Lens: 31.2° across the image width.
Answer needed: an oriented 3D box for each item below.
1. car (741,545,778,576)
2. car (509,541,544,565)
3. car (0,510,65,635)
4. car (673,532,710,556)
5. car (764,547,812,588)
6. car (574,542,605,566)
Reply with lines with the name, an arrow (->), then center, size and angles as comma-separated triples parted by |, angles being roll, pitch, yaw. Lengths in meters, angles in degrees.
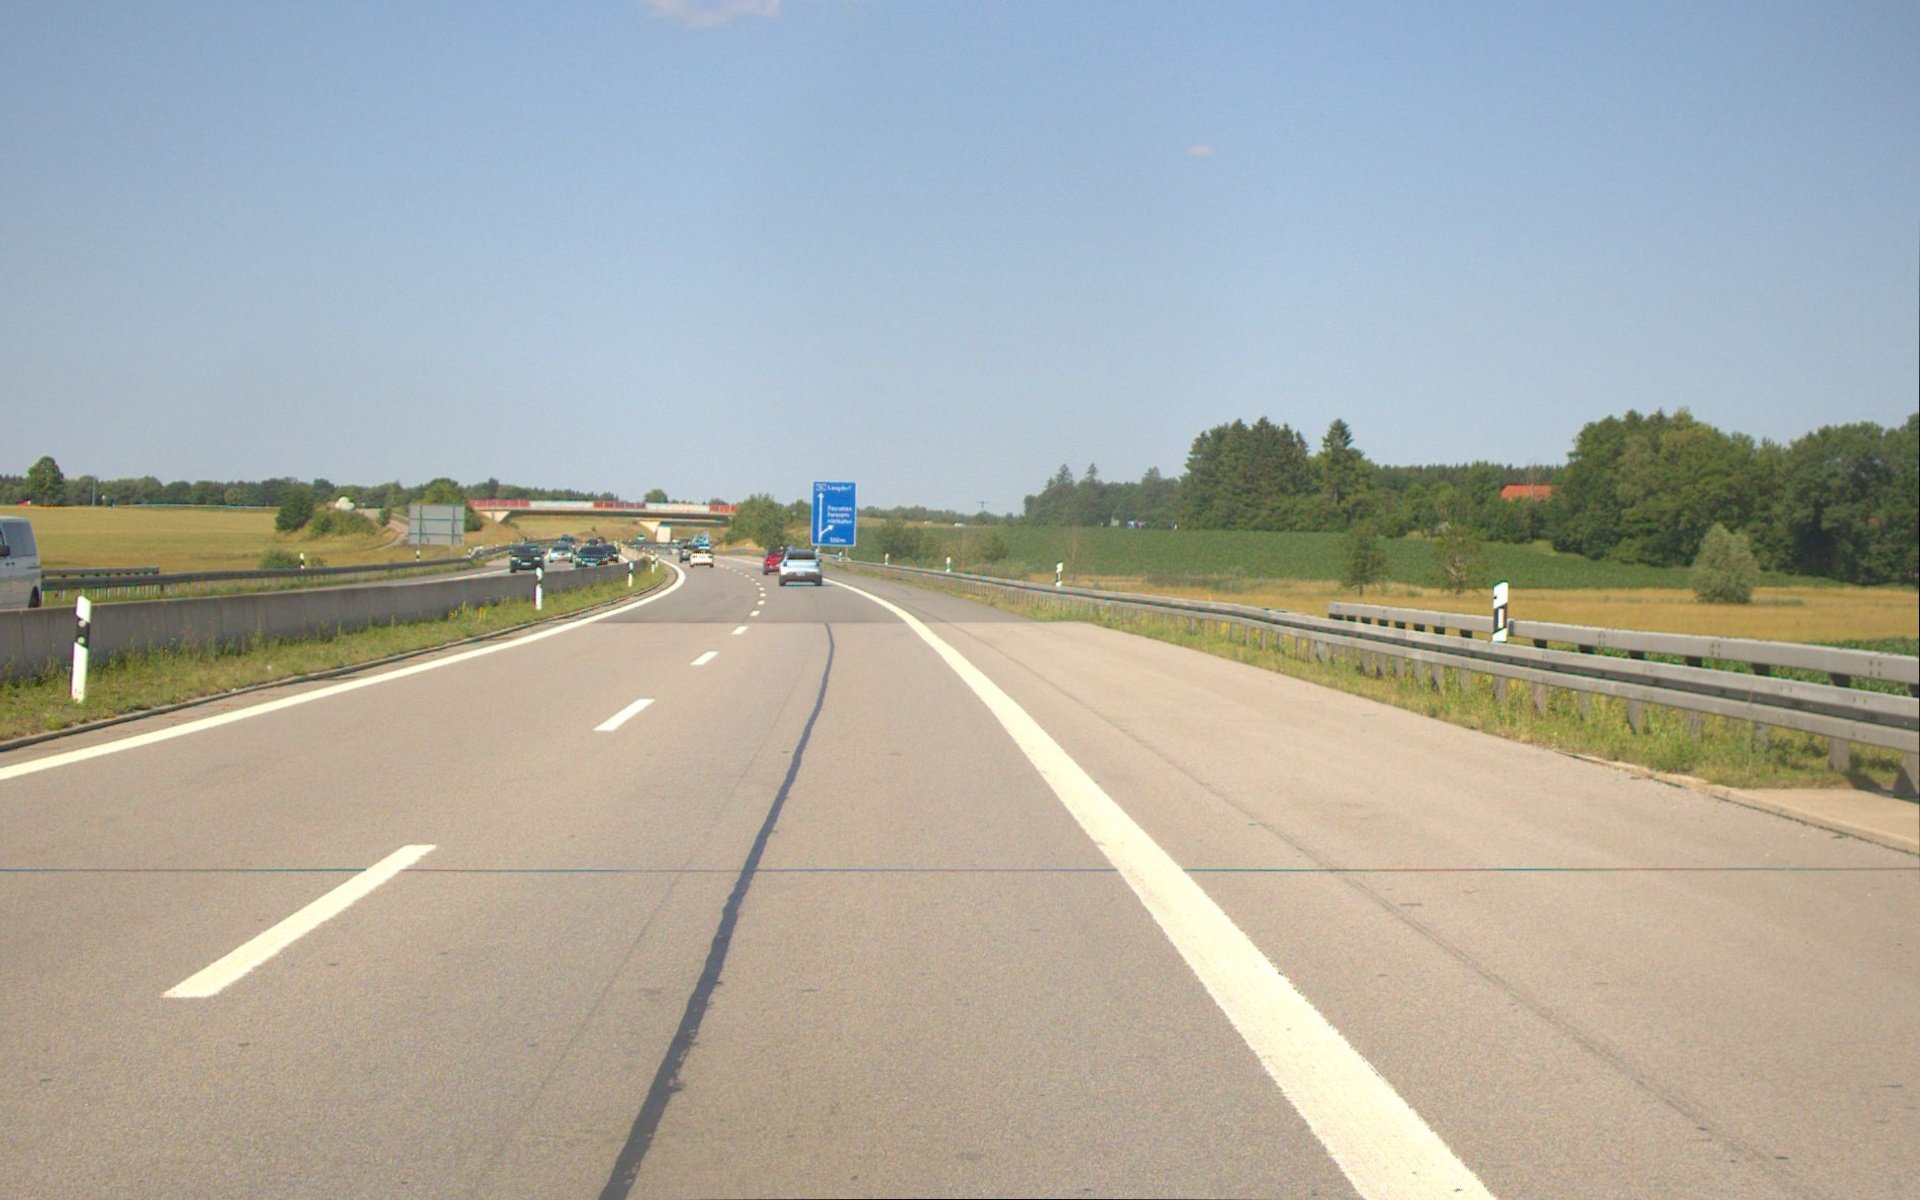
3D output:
car -> -11.778, -2.333, 201.333 | 1.993, 1.725, 4.870 | 1, 1, -5
car -> -24.789, -2.695, 196.729 | 1.822, 1.360, 4.664 | 0, 1, -5
car -> -16.416, -0.466, 56.713 | 1.993, 2.007, 5.614 | 0, 0, -2
car -> -19.778, -4.145, 253.383 | 1.993, 1.725, 4.871 | 1, 1, -13
car -> -7.567, -1.433, 150.964 | 1.993, 1.725, 4.870 | 1, 1, -4
car -> -21.883, -2.752, 203.213 | 1.822, 1.360, 5.199 | 0, 1, -6
